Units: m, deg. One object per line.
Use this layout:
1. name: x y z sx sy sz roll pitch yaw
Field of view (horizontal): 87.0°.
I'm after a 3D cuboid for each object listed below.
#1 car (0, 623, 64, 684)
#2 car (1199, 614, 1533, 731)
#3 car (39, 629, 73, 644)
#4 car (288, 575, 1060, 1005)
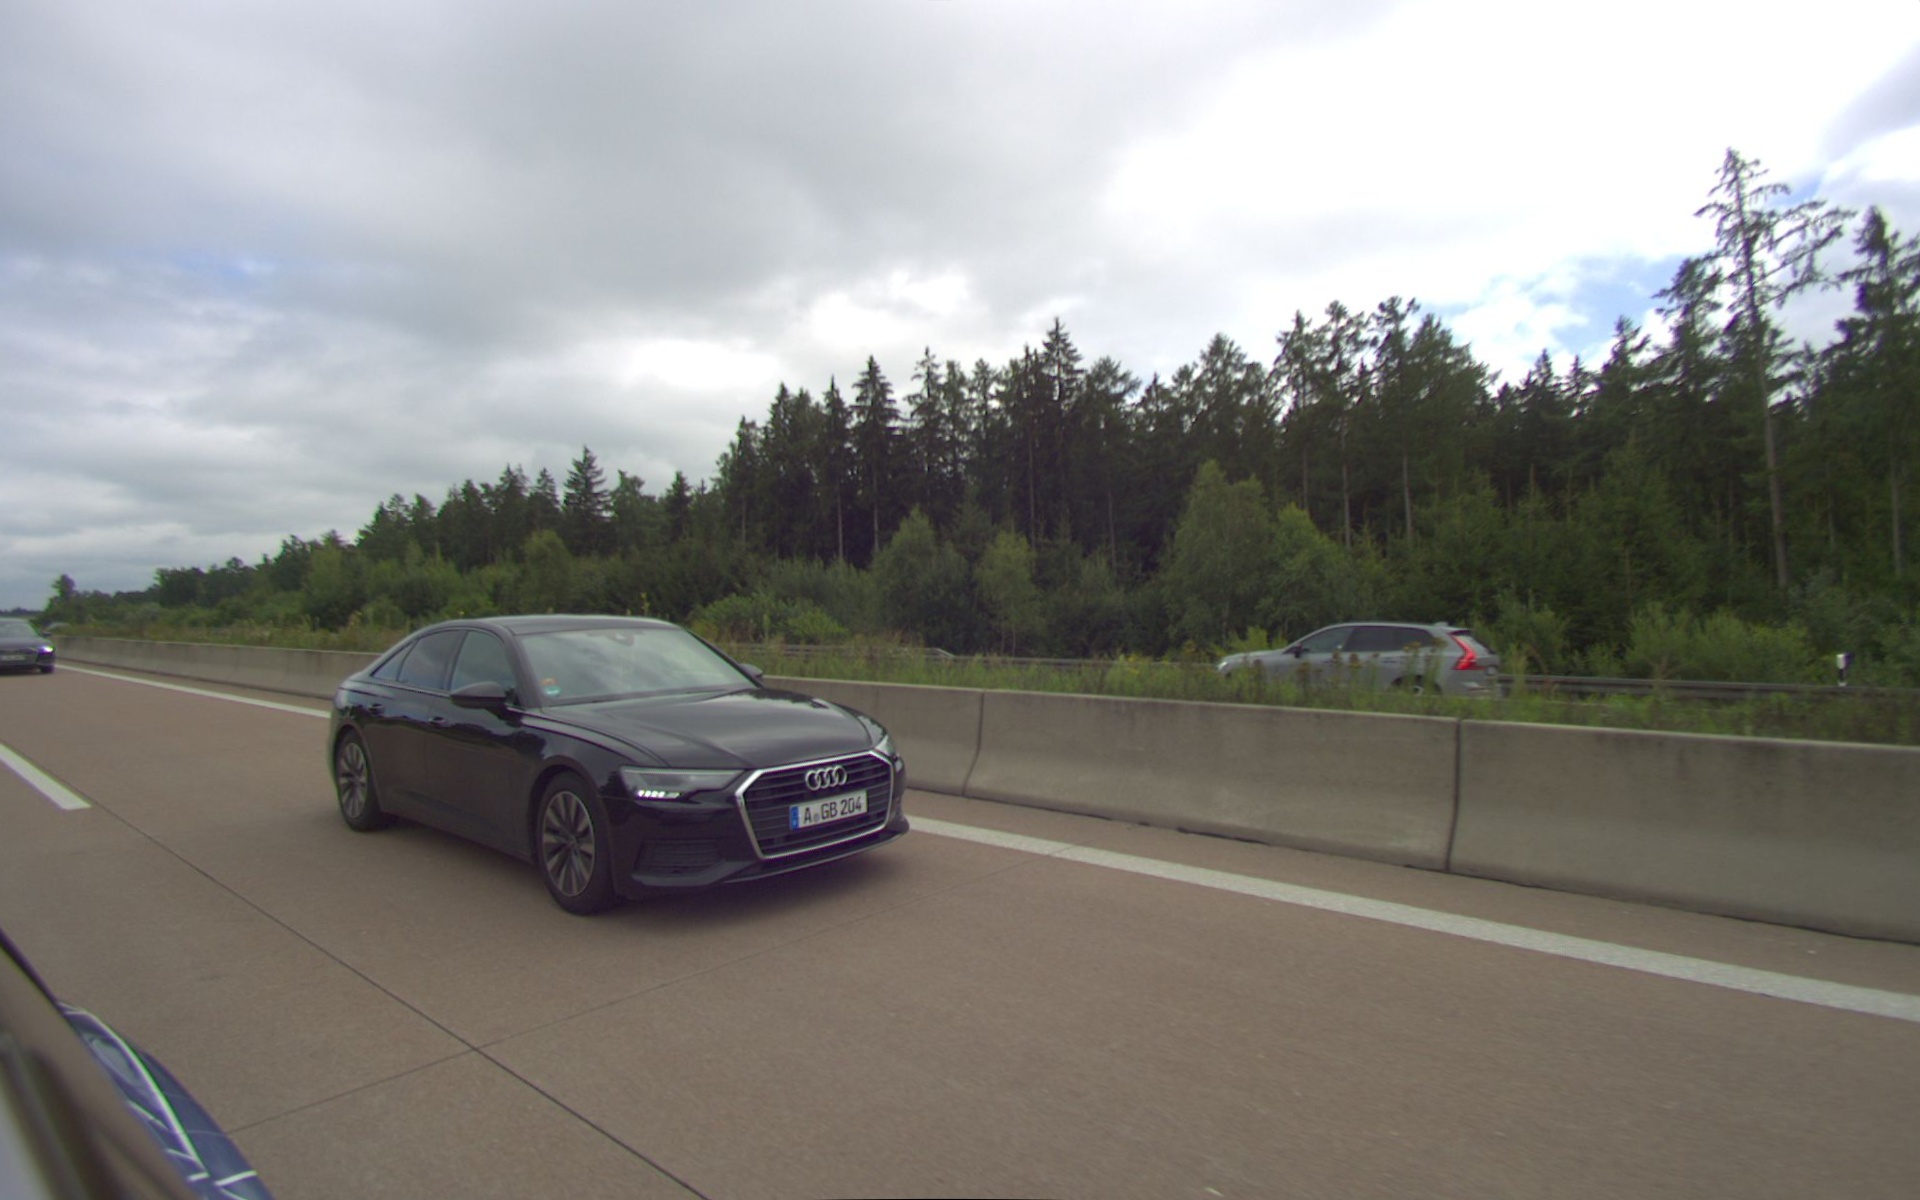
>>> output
1. car: -26.073 1.396 27.416 5.450 1.503 2.037 -1 -1 41
2. car: 6.709 1.123 17.092 4.884 1.693 1.973 -1 -2 41
3. car: -98.596 3.949 110.366 5.195 1.603 2.102 -1 -2 41
4. car: -2.262 0.729 6.392 5.674 1.562 2.062 -2 0 43
